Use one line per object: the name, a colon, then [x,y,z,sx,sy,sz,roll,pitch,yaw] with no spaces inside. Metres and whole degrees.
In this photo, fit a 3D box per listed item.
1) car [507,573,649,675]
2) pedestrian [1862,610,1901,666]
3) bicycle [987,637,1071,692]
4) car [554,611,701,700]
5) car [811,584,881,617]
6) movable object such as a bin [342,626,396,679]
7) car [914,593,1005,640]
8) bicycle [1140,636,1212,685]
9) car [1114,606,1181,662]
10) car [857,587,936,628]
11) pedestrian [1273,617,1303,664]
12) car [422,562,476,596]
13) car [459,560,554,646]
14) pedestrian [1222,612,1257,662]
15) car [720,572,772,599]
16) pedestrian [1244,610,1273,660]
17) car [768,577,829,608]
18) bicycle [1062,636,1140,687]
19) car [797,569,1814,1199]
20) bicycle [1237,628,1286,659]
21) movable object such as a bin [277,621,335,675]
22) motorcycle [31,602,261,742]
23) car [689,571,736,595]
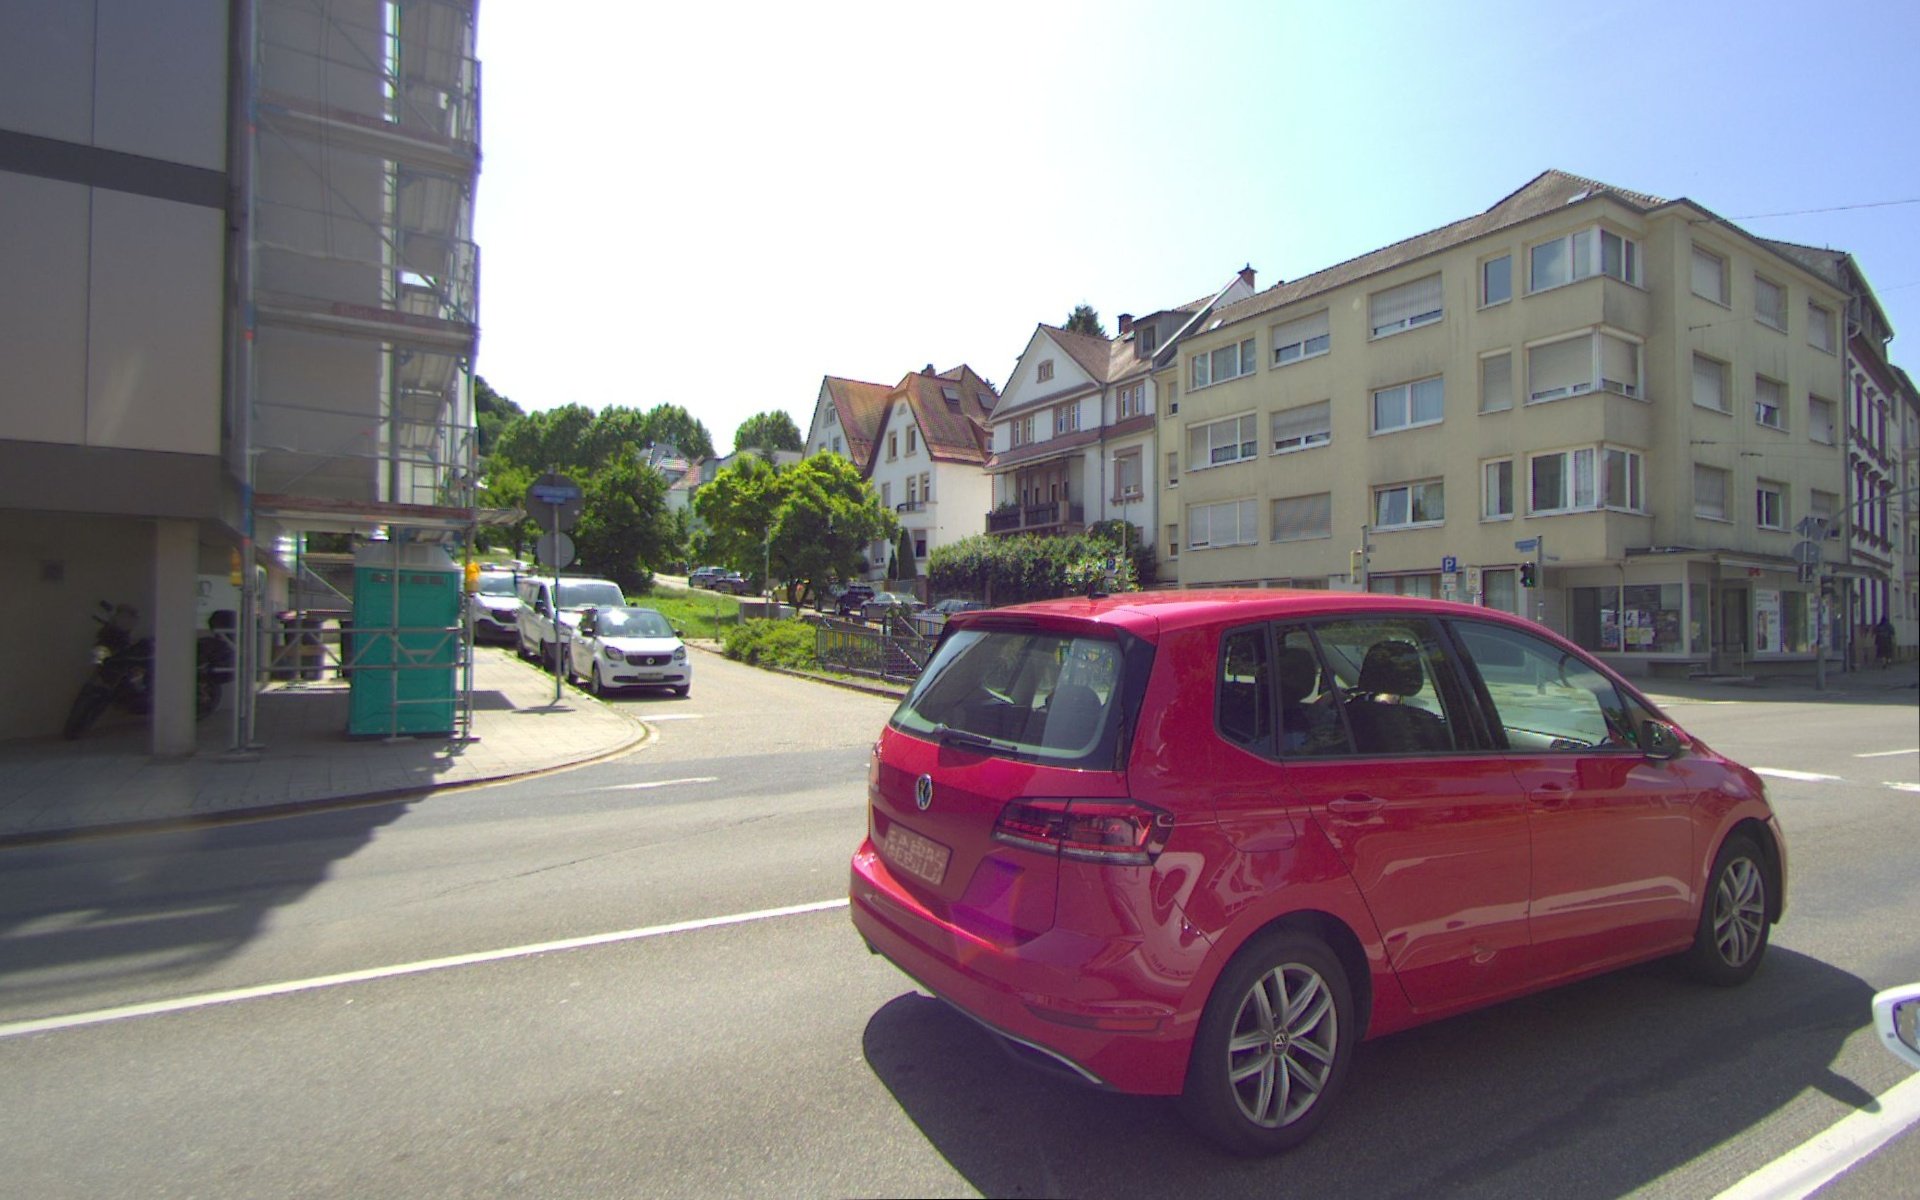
car: [-9.089,0.455,23.626,1.980,2.041,4.962,1,2,-35]
pedestrian: [32.640,1.341,35.565,0.970,1.957,0.926,2,-2,-42]
bicycle: [1.308,1.189,18.883,1.701,0.980,0.394,1,-1,-35]
car: [-6.361,0.961,18.961,1.739,1.466,3.705,1,0,-33]
car: [-5.614,-0.006,49.134,1.790,1.406,3.963,1,2,-33]
movable object such as a bin: [-10.866,0.958,18.492,0.816,0.939,0.735,1,0,-29]
car: [-0.087,0.636,40.680,1.790,1.638,3.963,1,2,-33]
bicycle: [4.563,1.256,21.128,1.765,0.980,0.394,1,-1,-35]
car: [6.072,1.094,32.935,1.959,1.686,4.332,0,-1,8]
car: [-2.873,0.306,44.936,1.790,1.571,3.963,1,2,-33]
pedestrian: [10.652,1.315,32.638,0.641,1.495,0.683,1,-1,-29]
car: [-24.406,-1.010,47.903,1.741,1.467,3.701,1,3,-36]
car: [-12.980,0.011,28.552,2.050,2.207,4.973,1,2,-29]
pedestrian: [9.268,1.223,33.357,0.813,1.654,0.798,1,-1,-30]
car: [-13.258,-0.905,62.038,1.839,1.440,3.963,1,2,-33]
pedestrian: [10.064,1.163,33.839,0.641,1.654,0.683,1,-1,-29]
car: [-8.739,-0.427,54.137,1.790,1.440,3.963,1,2,-33]
bicycle: [2.815,1.206,19.974,1.729,0.980,0.394,1,-1,-35]
car: [1.536,0.760,4.126,3.990,1.578,1.790,1,-1,-30]
bicycle: [10.417,1.487,34.748,0.493,1.040,1.728,1,-1,-31]
movable object such as a bin: [-11.768,0.851,18.096,0.816,0.939,0.735,1,0,-29]
motorcycle: [-9.469,0.788,11.826,0.864,1.491,2.044,0,-1,8]
car: [-16.514,-1.165,66.927,1.839,1.440,3.963,1,2,-33]
